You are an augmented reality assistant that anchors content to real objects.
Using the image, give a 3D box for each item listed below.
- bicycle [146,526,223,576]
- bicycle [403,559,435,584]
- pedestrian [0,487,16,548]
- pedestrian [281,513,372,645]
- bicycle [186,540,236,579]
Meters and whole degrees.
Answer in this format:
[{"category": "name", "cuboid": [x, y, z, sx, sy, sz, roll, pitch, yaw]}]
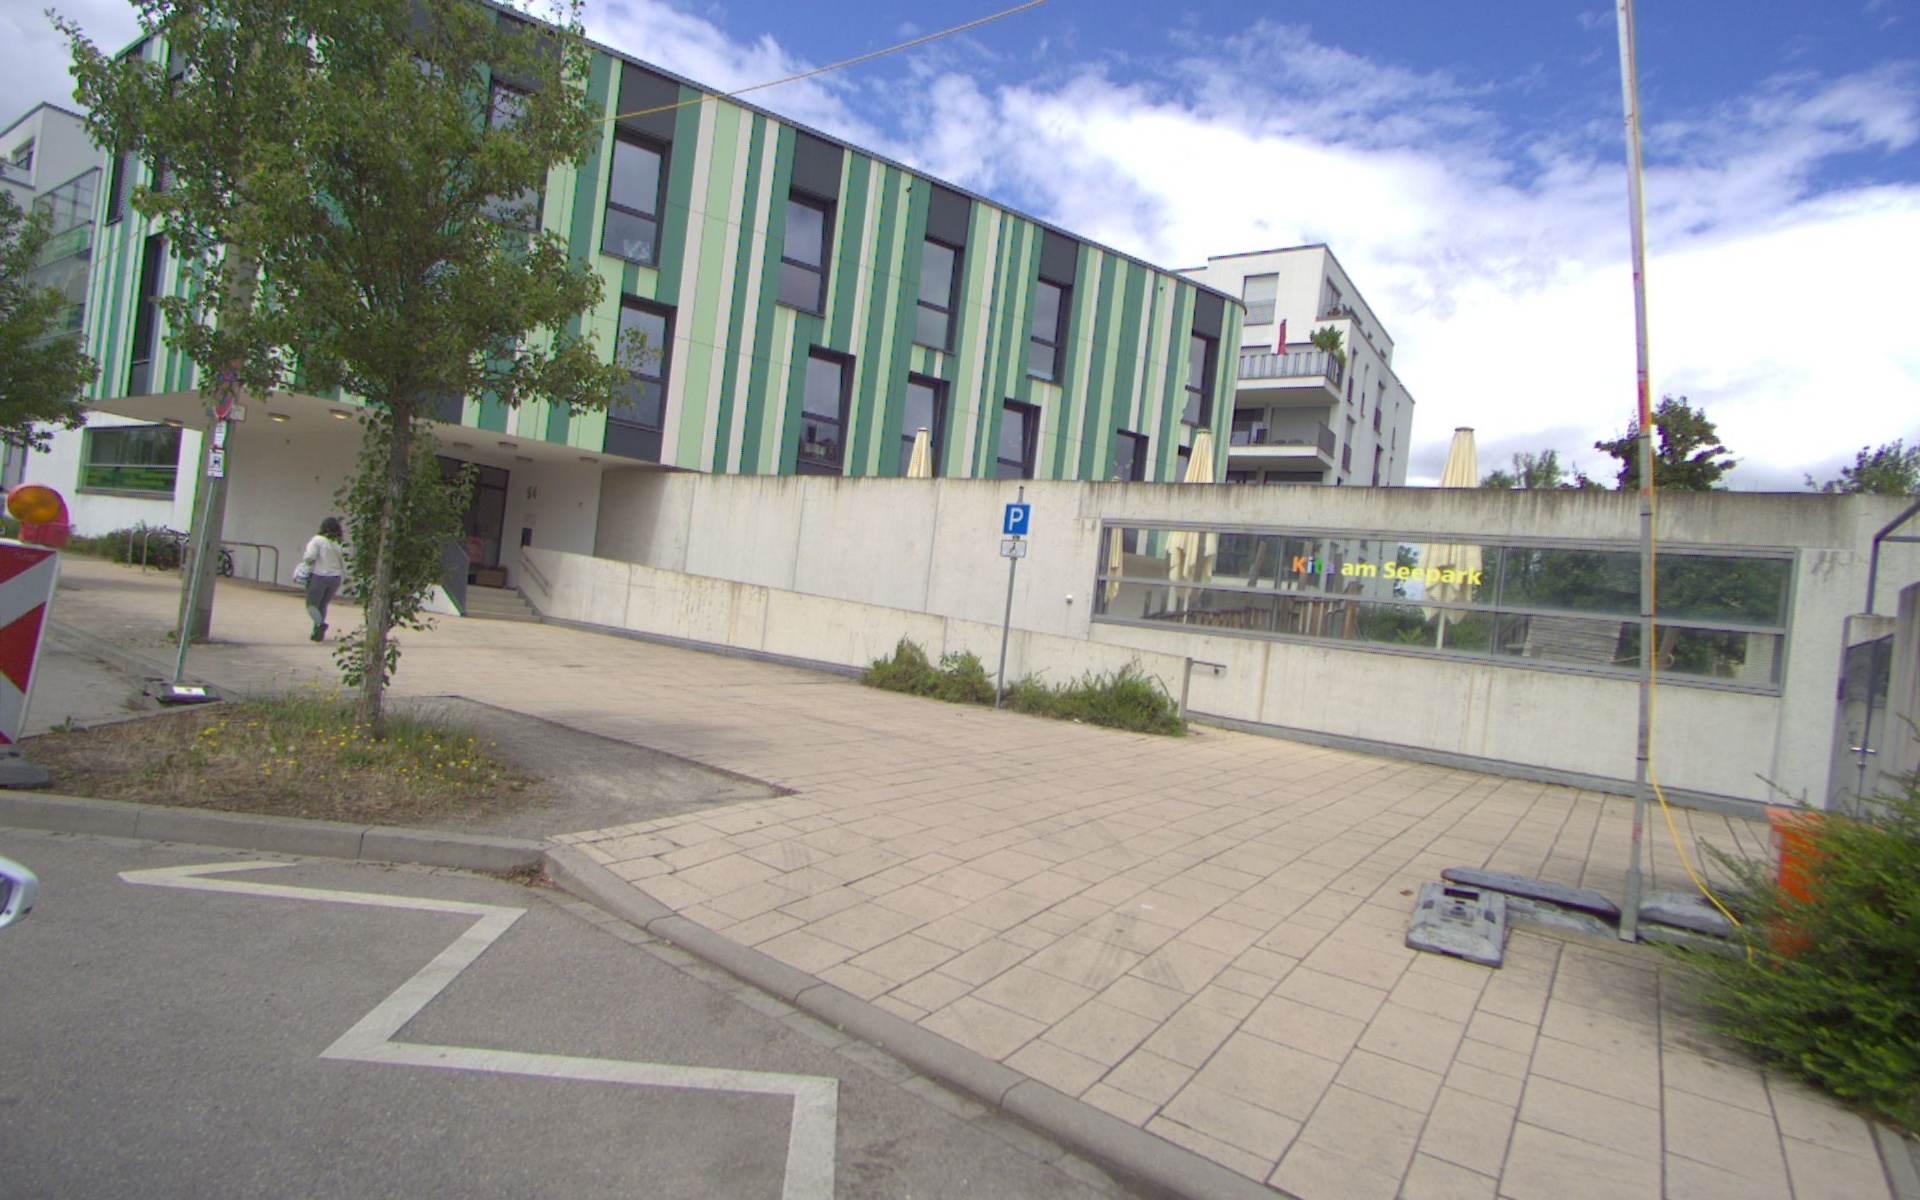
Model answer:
[{"category": "bicycle", "cuboid": [-18.932, -1.171, 24.588, 0.301, 1.058, 1.468, 6, 0, 23]}, {"category": "bicycle", "cuboid": [-11.738, -0.623, 21.822, 0.788, 0.458, 0.306, 6, 0, 41]}, {"category": "pedestrian", "cuboid": [-27.415, -2.378, 28.664, 0.597, 1.675, 0.550, 7, 1, 35]}, {"category": "pedestrian", "cuboid": [-8.053, -0.264, 12.790, 0.855, 1.571, 0.581, 6, 1, 35]}, {"category": "bicycle", "cuboid": [-17.972, -0.962, 24.155, 0.301, 0.852, 1.025, 6, 0, 3]}]
